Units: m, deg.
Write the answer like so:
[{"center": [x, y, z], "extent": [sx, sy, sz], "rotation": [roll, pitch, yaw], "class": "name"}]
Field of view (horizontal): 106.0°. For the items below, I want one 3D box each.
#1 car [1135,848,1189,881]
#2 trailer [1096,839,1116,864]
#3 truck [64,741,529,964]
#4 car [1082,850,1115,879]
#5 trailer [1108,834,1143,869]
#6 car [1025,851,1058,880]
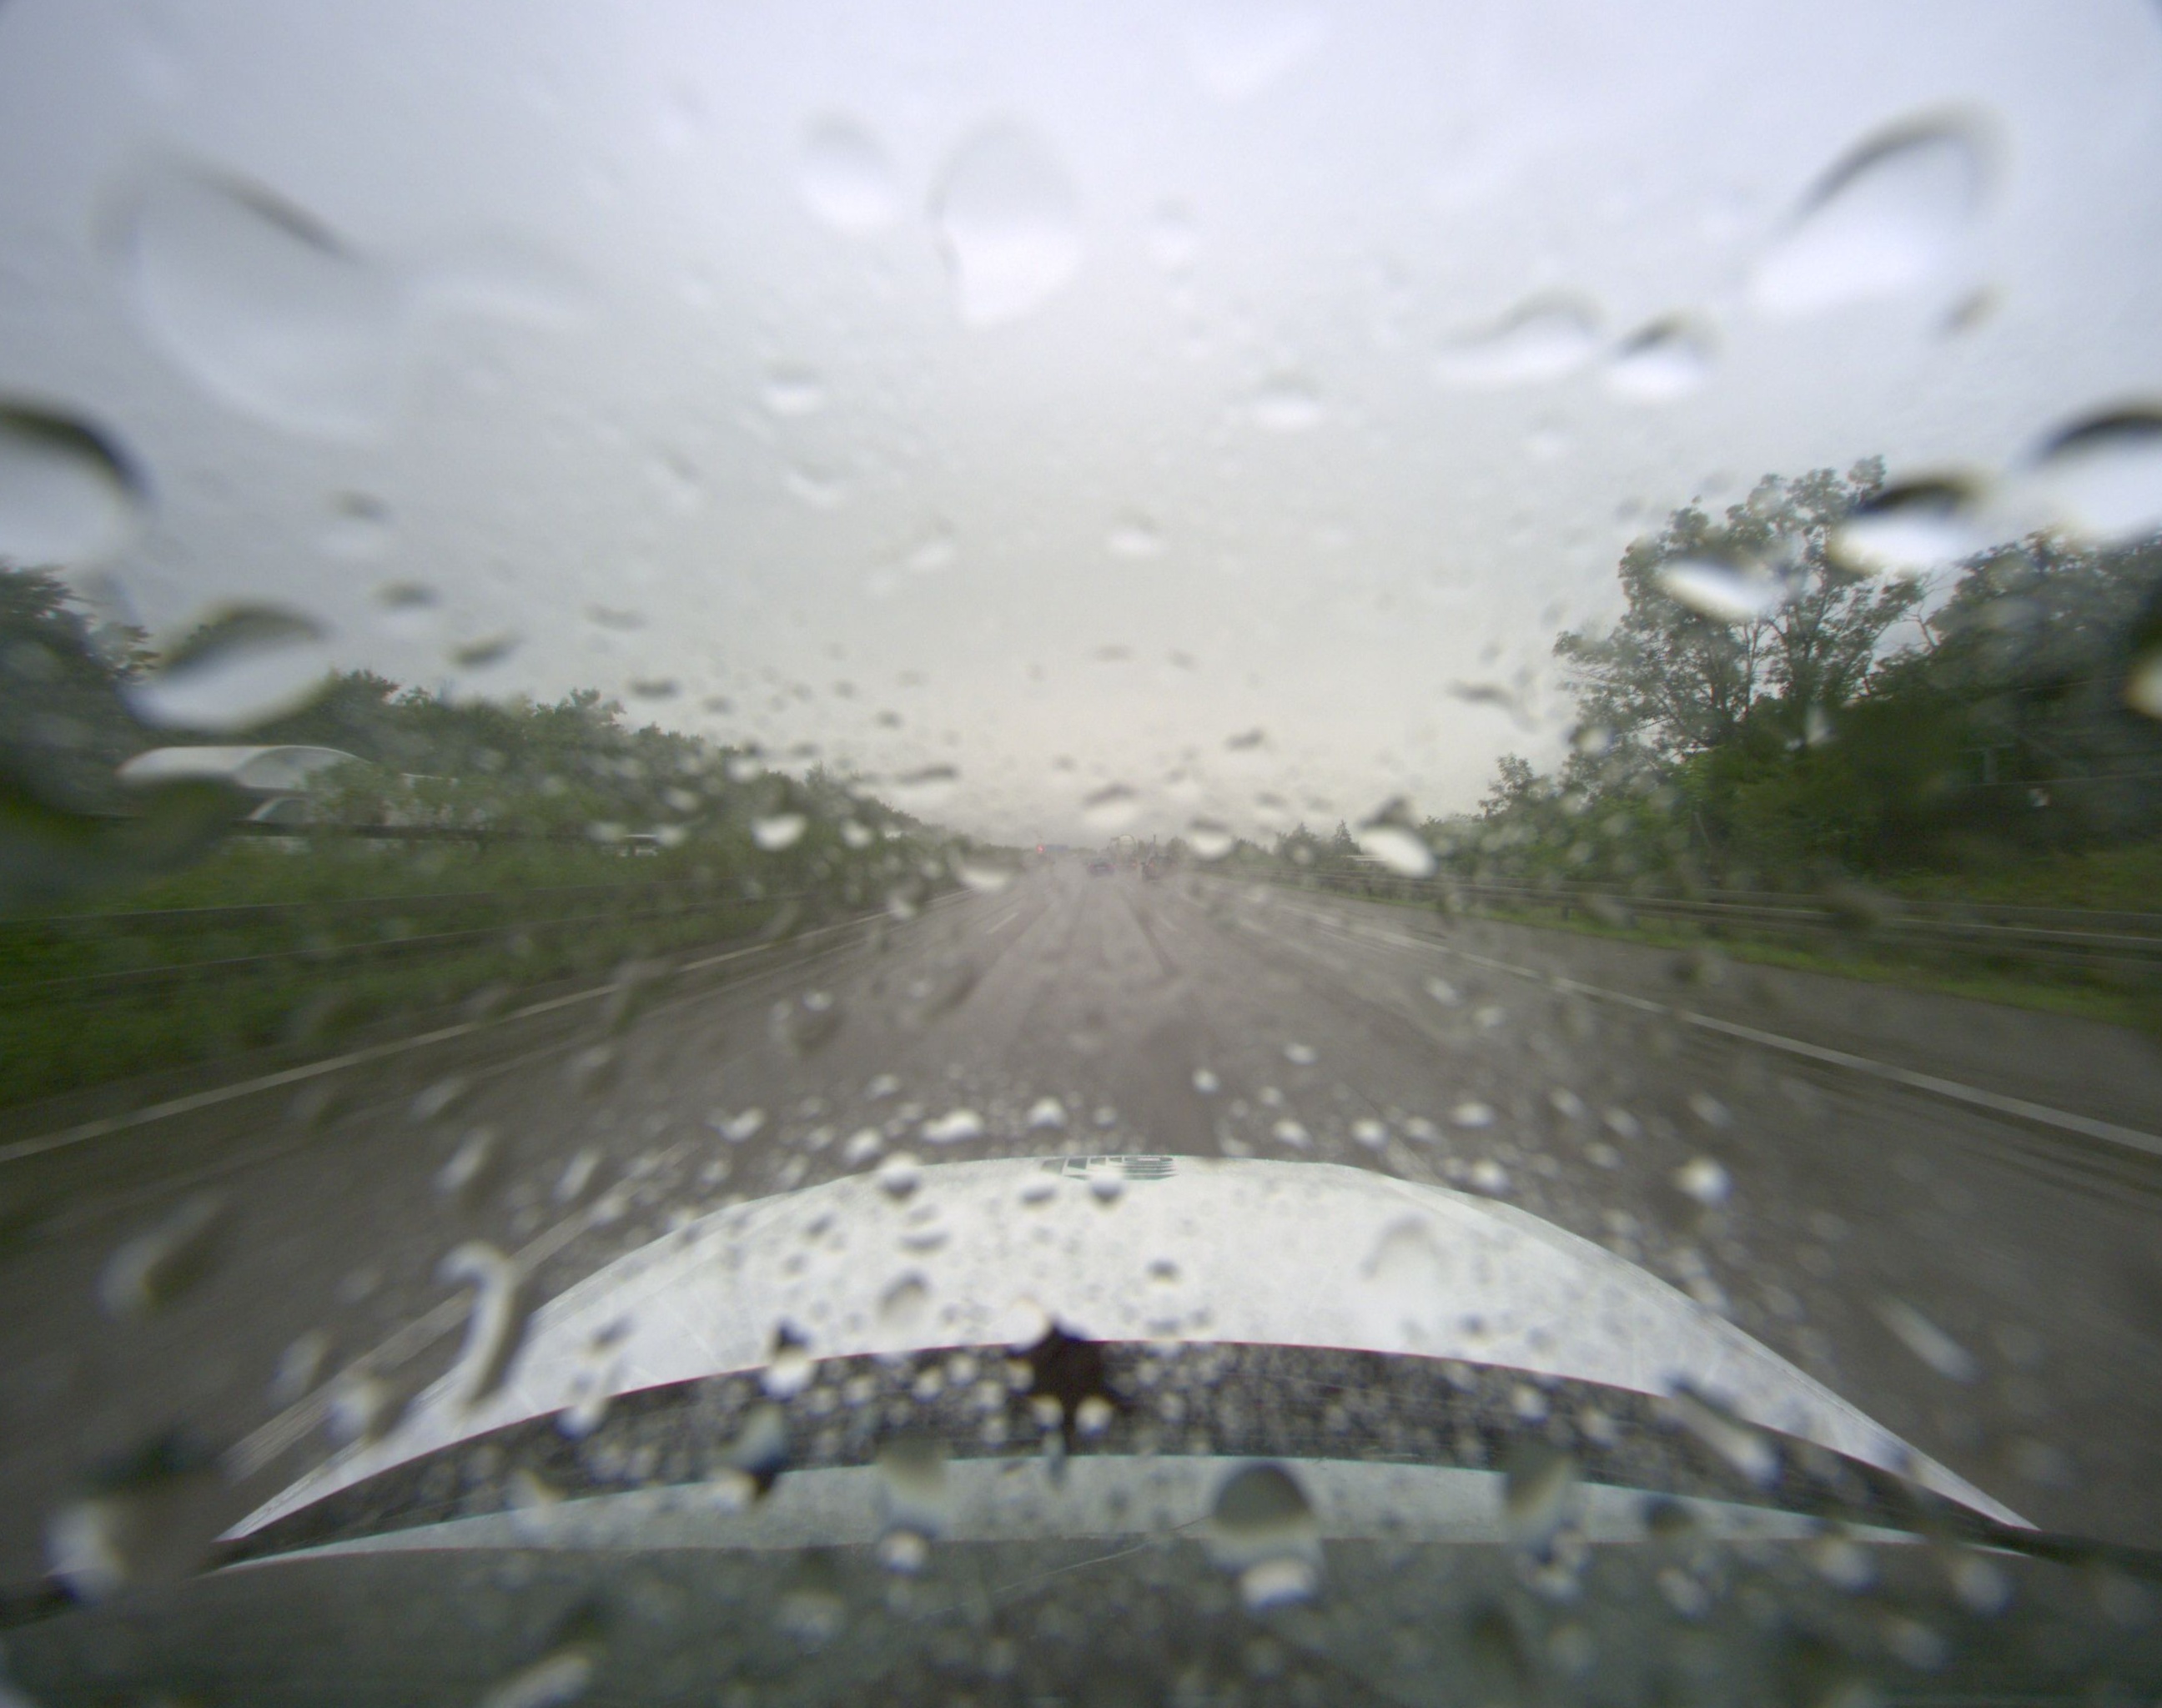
[{"center": [4.526, 0.582, 46.441], "extent": [2.450, 1.746, 5.718], "rotation": [-1, 0, 0], "class": "car"}, {"center": [4.198, -0.372, 137.734], "extent": [2.994, 3.848, 8.622], "rotation": [-2, -1, 0], "class": "trailer"}, {"center": [-16.900, -0.025, 18.683], "extent": [3.024, 4.017, 7.709], "rotation": [-1, 0, 1], "class": "truck"}, {"center": [1.083, 0.672, 52.248], "extent": [1.973, 1.756, 4.479], "rotation": [-1, 0, -1], "class": "car"}, {"center": [4.947, -0.303, 92.820], "extent": [3.179, 3.670, 11.663], "rotation": [-1, 0, 0], "class": "trailer"}, {"center": [-2.496, 0.716, 52.047], "extent": [1.919, 1.741, 4.402], "rotation": [-1, 0, -1], "class": "car"}]
